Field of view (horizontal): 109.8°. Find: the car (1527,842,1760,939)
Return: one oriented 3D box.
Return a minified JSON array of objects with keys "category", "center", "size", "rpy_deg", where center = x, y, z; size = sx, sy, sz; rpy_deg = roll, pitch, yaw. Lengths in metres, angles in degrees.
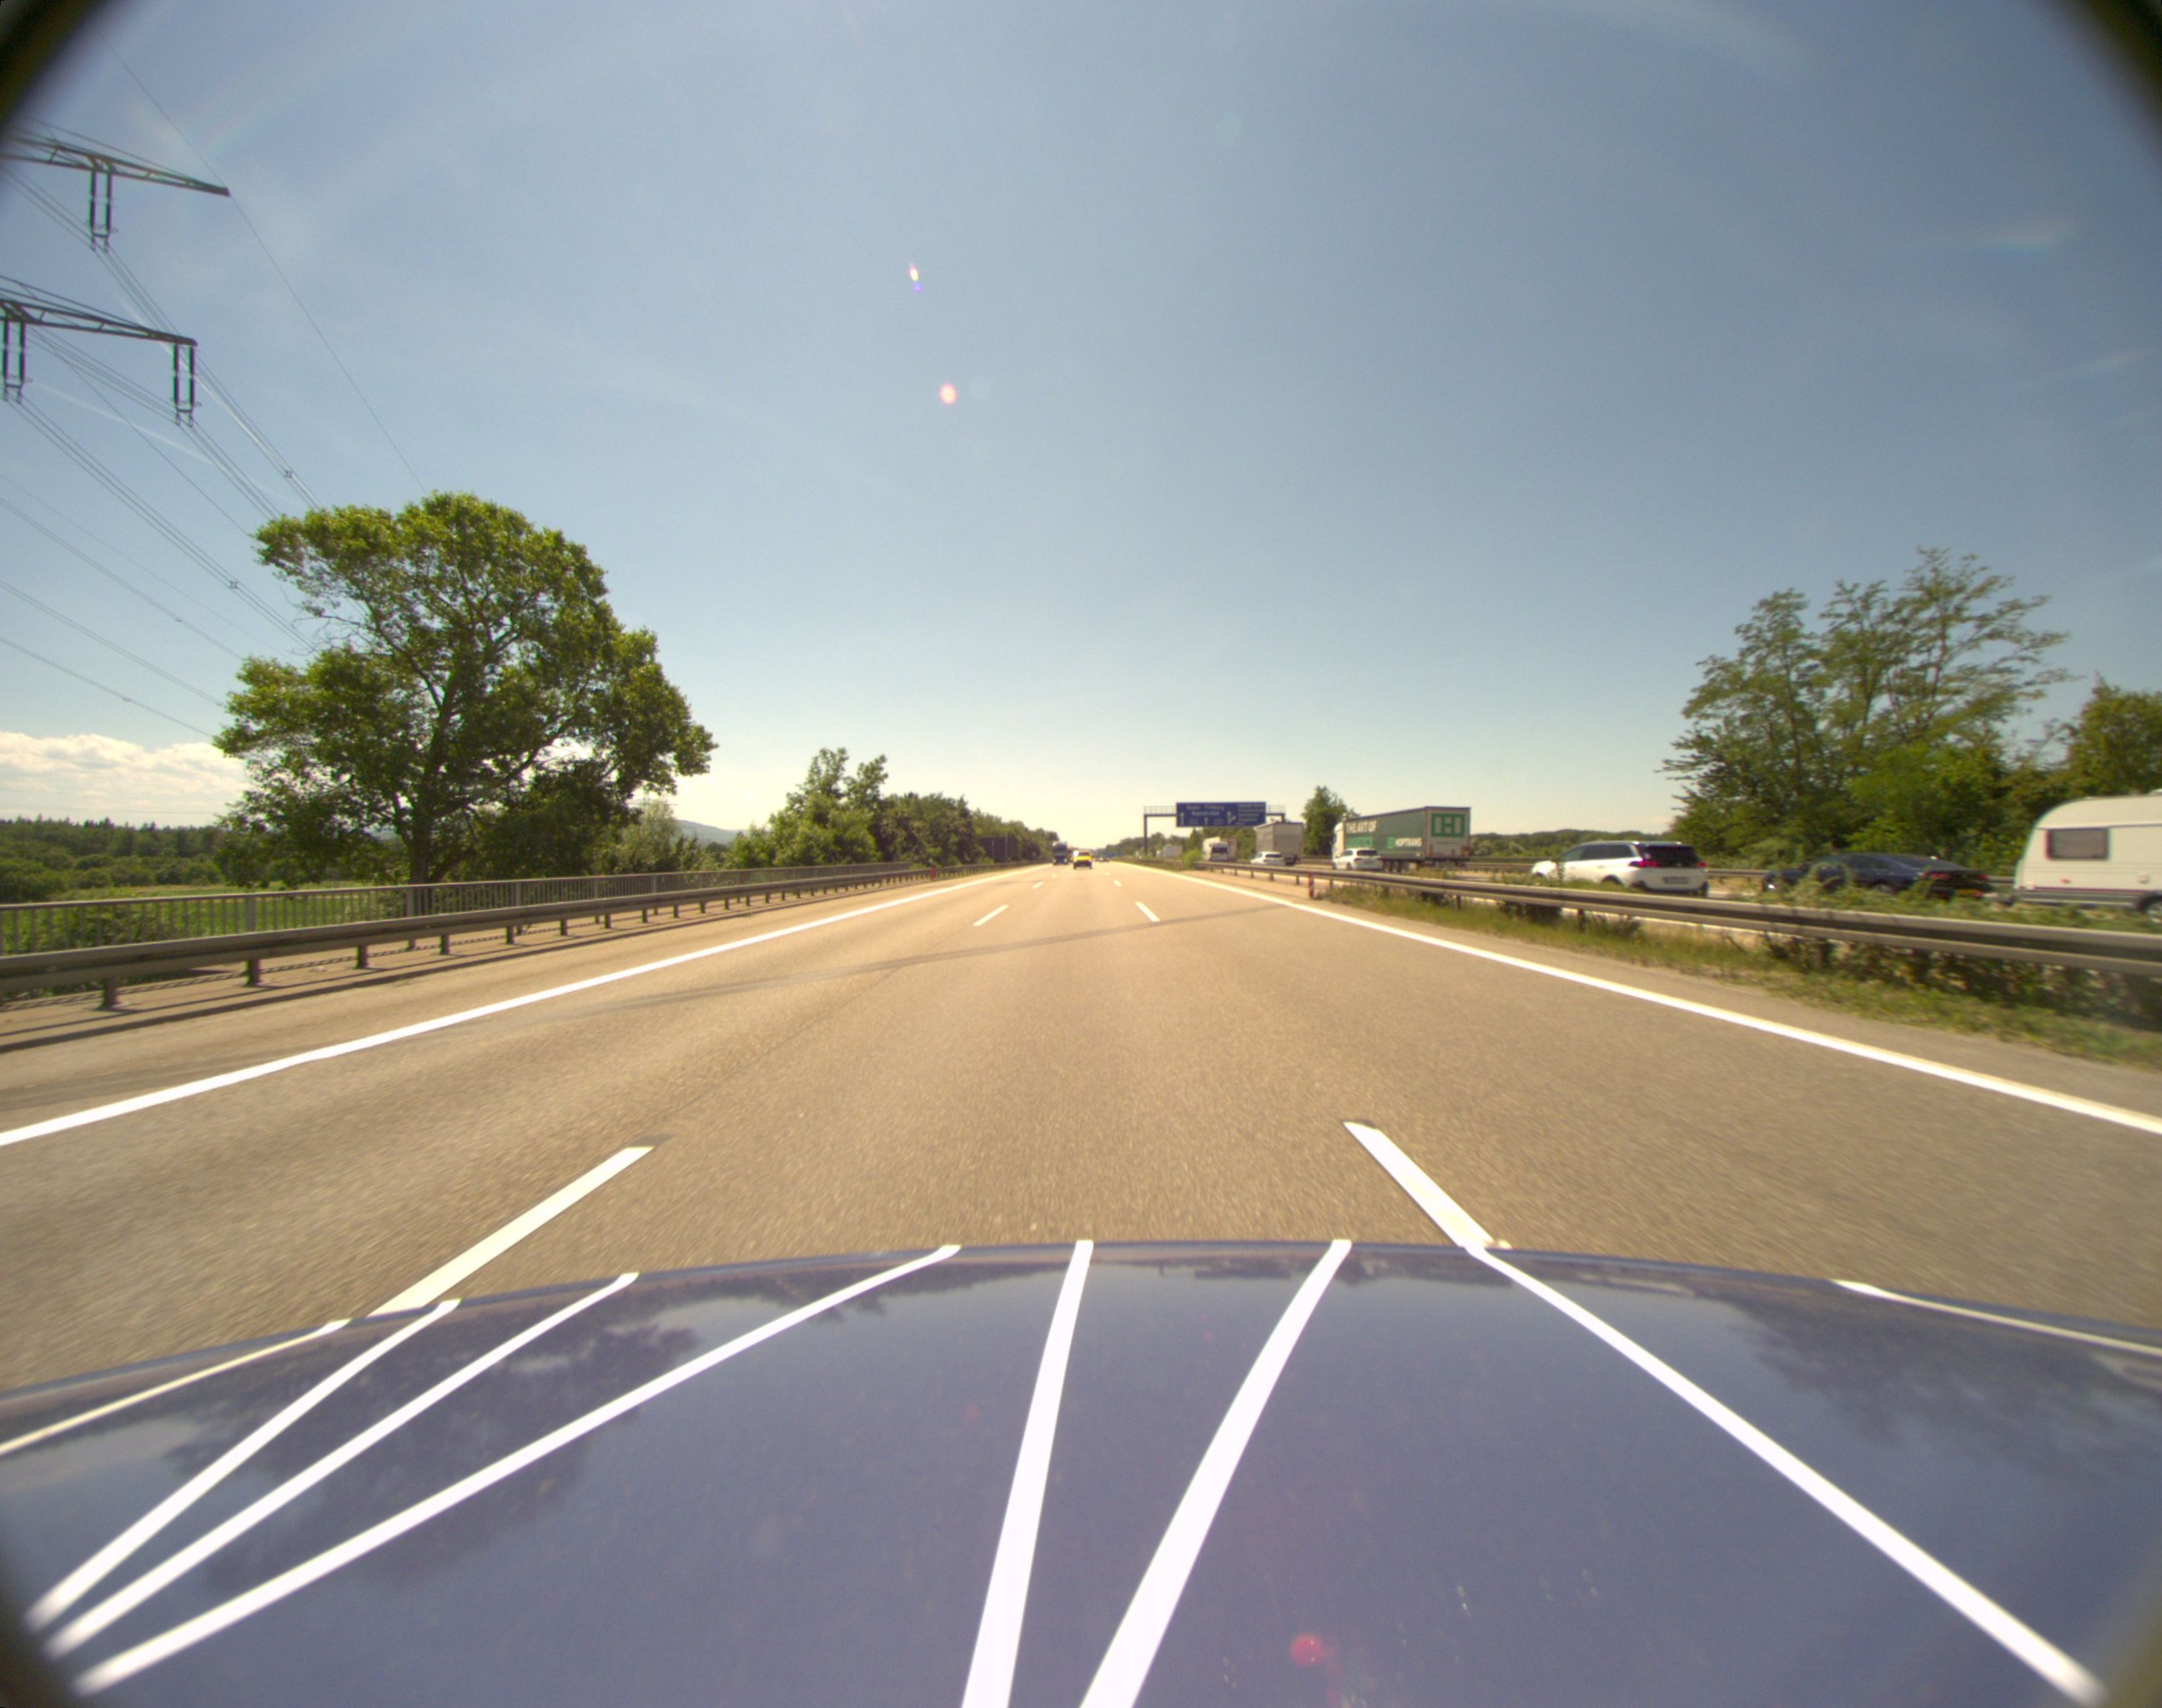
[{"category":"car","center":[13.440,0.777,18.626],"size":[2.303,2.002,4.557],"rpy_deg":[-2,0,1]}]

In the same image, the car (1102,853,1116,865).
[{"category":"car","center":[5.703,0.994,154.836],"size":[2.686,2.510,5.967],"rpy_deg":[-1,0,1]}]

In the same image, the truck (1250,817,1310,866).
[{"category":"truck","center":[17.196,-1.151,66.404],"size":[2.863,3.897,9.493],"rpy_deg":[-2,2,1]}]

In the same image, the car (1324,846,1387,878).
[{"category":"car","center":[16.710,0.463,46.510],"size":[2.080,1.820,5.108],"rpy_deg":[0,0,1]}]

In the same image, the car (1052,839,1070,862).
[{"category":"car","center":[-3.286,-0.630,127.768],"size":[2.686,3.724,6.270],"rpy_deg":[-1,0,1]}]

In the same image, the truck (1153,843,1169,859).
[{"category":"truck","center":[22.208,-0.817,211.674],"size":[3.243,4.110,8.606],"rpy_deg":[-2,0,0]}]

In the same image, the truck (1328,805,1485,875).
[{"category":"truck","center":[20.948,-0.832,50.931],"size":[3.252,3.780,17.012],"rpy_deg":[-2,0,1]}]

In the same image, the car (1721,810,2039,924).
[{"category":"car","center":[20.641,0.286,20.201],"size":[2.424,2.599,5.716],"rpy_deg":[0,0,1]}]

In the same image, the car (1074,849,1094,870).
[{"category":"car","center":[0.316,0.554,78.528],"size":[1.955,2.002,5.433],"rpy_deg":[-1,0,1]}]

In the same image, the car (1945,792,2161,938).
[{"category":"car","center":[20.447,0.195,14.060],"size":[2.424,2.599,5.716],"rpy_deg":[0,0,1]}]

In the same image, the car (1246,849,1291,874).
[{"category":"car","center":[13.592,0.513,55.498],"size":[2.080,1.781,5.108],"rpy_deg":[0,0,1]}]

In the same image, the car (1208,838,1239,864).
[{"category":"car","center":[15.124,-0.316,80.731],"size":[2.174,2.569,6.038],"rpy_deg":[-1,0,1]}]

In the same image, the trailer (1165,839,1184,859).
[{"category":"trailer","center":[22.059,-1.143,179.940],"size":[2.750,4.282,13.947],"rpy_deg":[-2,0,0]}]

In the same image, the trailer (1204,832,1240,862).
[{"category":"trailer","center":[21.710,-1.030,118.044],"size":[2.750,4.182,13.946],"rpy_deg":[-2,0,-1]}]
